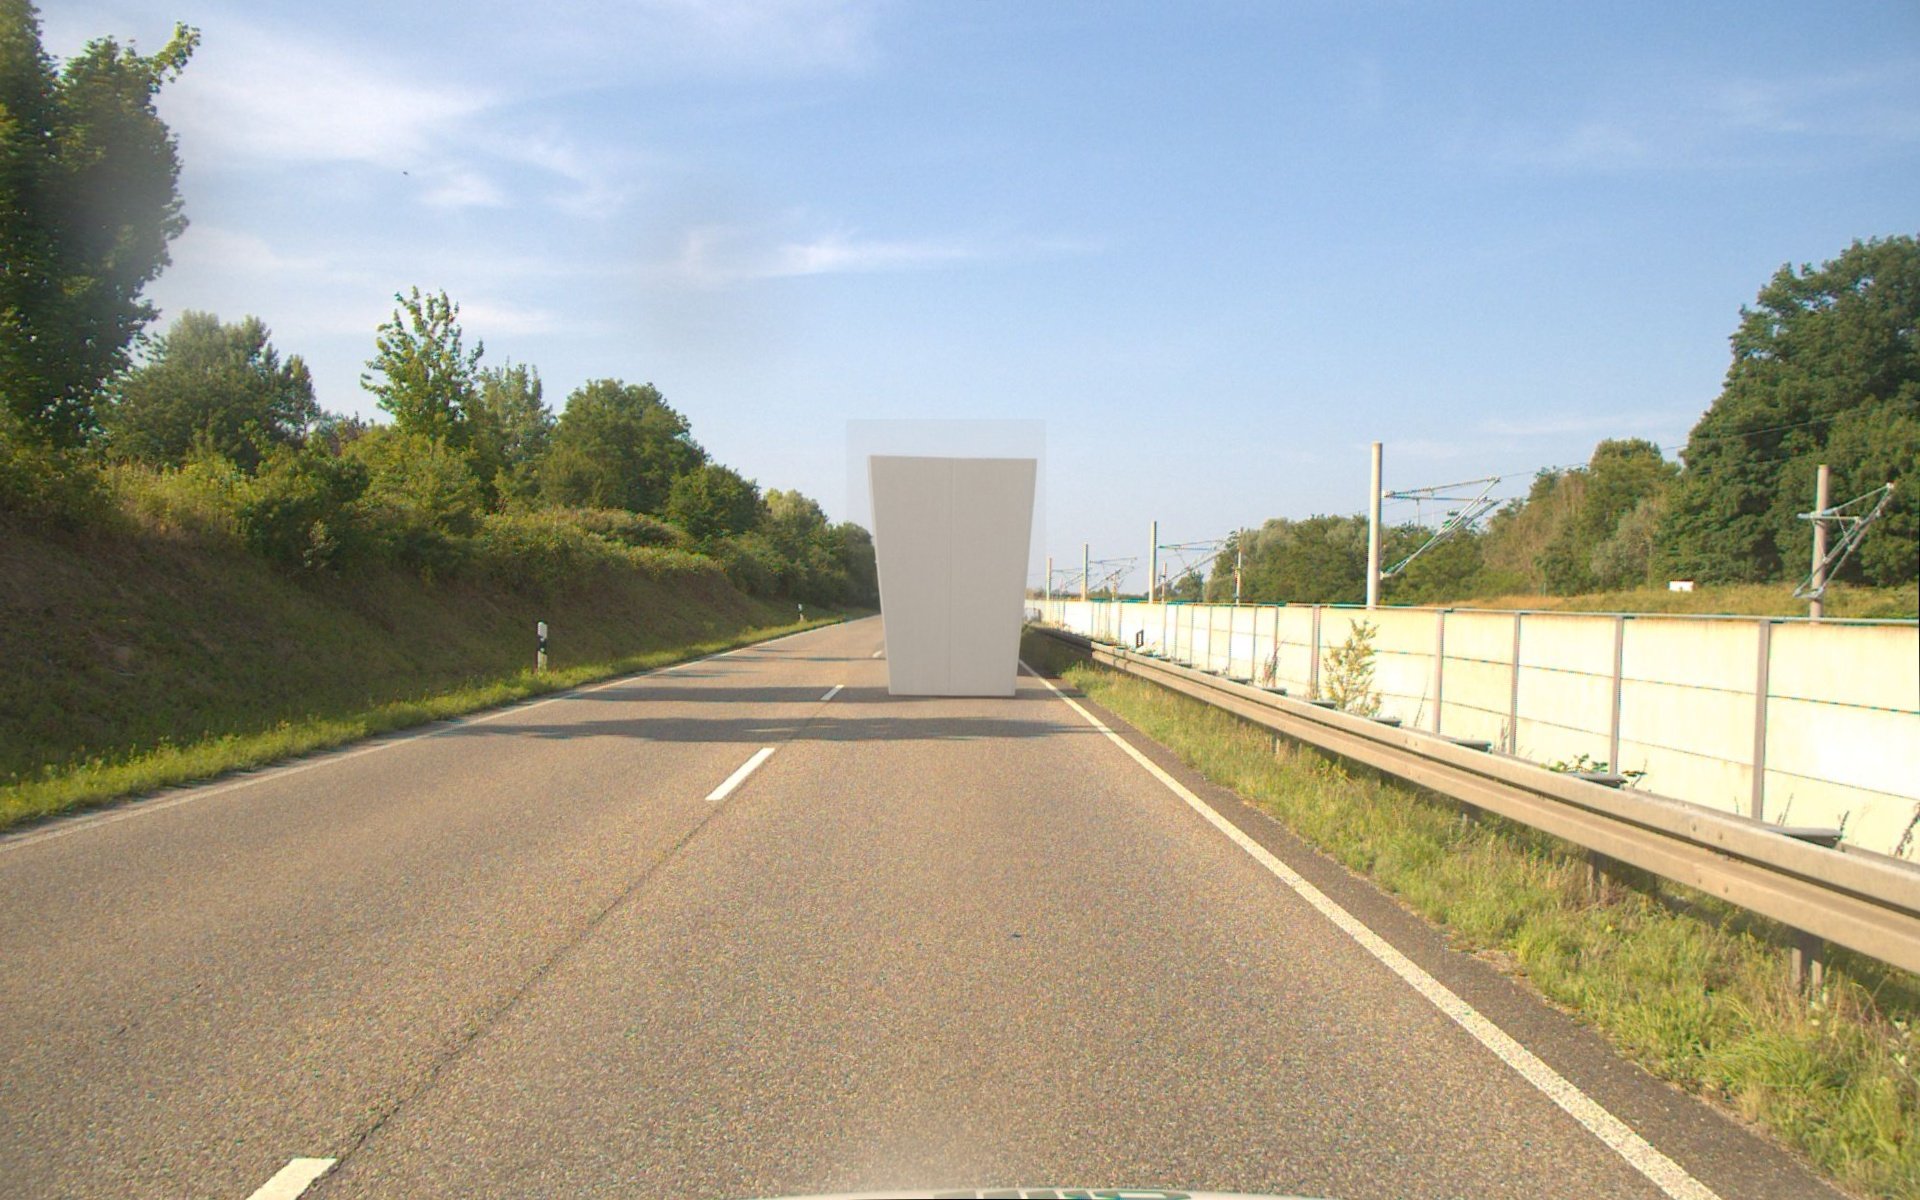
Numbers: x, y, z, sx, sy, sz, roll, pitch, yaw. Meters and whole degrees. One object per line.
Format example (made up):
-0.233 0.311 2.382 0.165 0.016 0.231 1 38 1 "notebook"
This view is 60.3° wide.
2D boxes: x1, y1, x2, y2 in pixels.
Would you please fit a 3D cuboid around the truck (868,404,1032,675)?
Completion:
-0.384 -1.122 36.700 2.972 5.006 11.679 1 0 -2 "truck"
